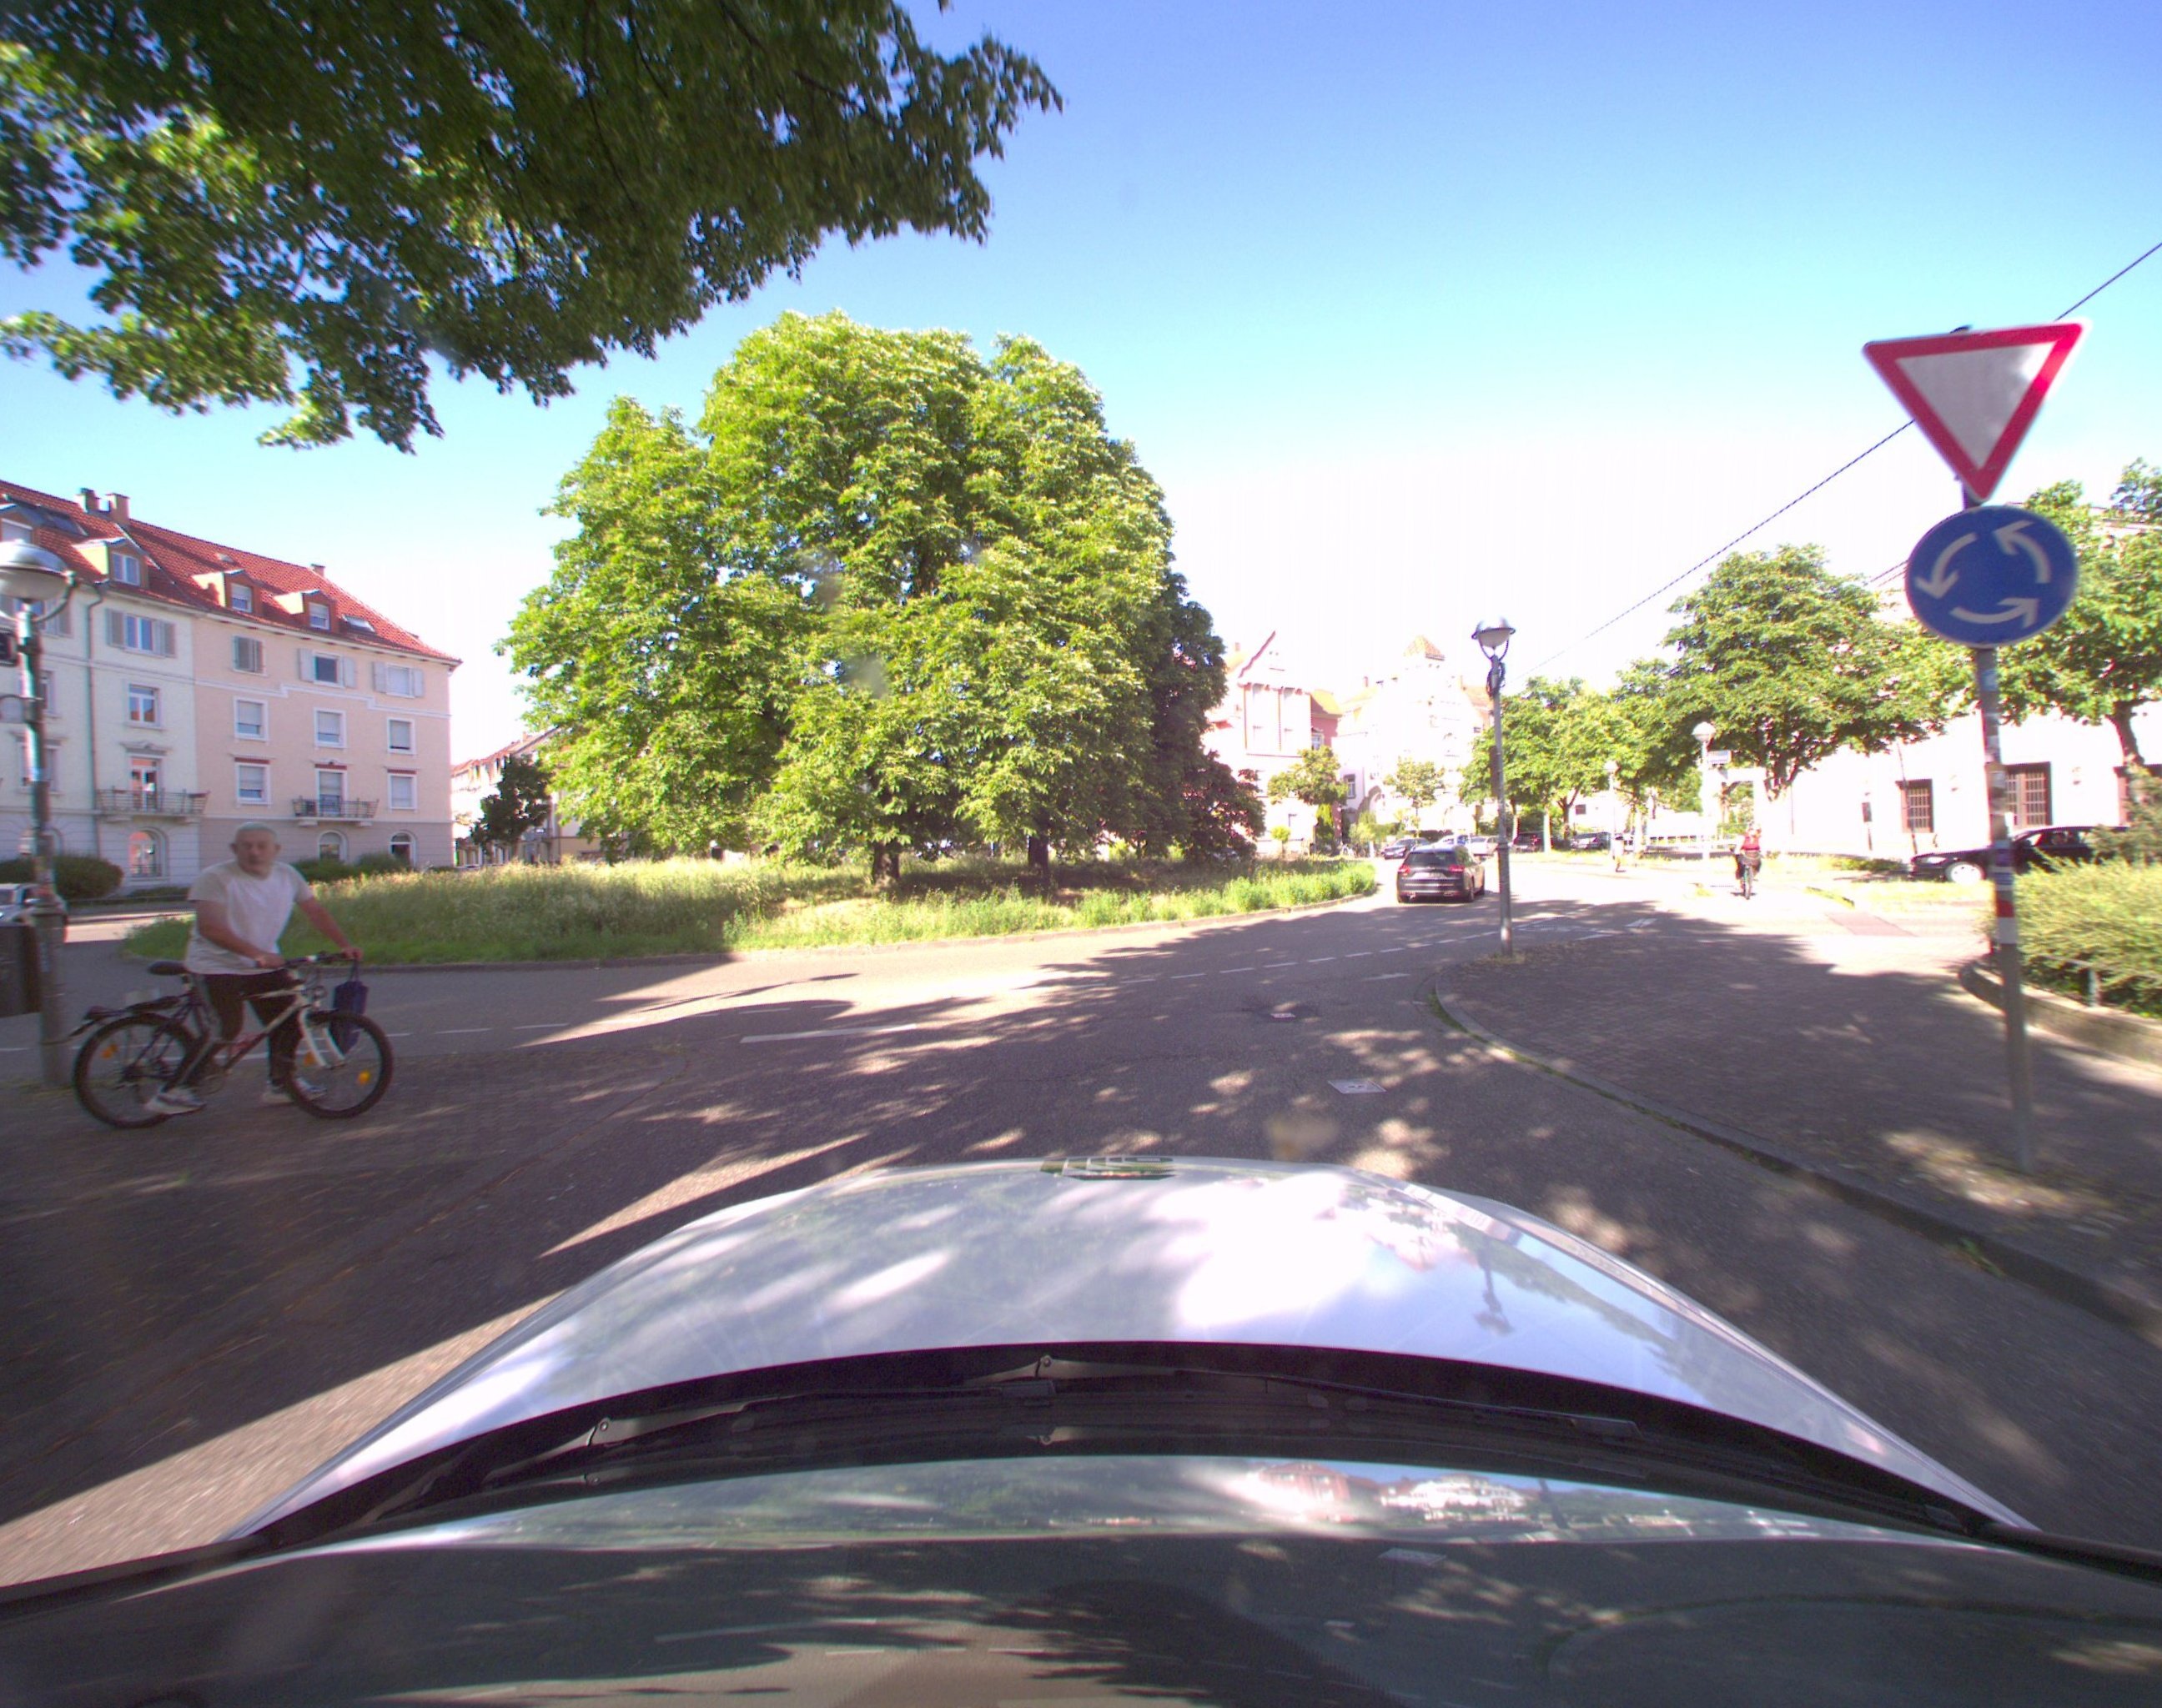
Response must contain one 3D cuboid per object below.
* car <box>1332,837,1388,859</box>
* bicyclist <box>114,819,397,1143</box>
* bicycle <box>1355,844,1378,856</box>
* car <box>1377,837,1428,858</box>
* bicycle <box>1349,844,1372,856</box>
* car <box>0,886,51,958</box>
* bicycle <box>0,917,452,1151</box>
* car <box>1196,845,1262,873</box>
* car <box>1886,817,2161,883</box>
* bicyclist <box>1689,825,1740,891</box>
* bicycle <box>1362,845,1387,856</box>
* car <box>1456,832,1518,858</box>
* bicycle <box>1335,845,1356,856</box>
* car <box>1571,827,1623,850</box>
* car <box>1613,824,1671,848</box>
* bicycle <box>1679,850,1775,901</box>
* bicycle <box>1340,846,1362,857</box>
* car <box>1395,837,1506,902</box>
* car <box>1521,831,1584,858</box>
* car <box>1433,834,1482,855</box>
[{"bbox_3d":[19.007,-0.396,55.475,3.660,1.369,1.741,-2,1,-35],"label":"car"},{"bbox_3d":[-5.016,0.705,5.032,0.886,1.784,0.795,-2,0,-13],"label":"bicyclist"},{"bbox_3d":[21.512,-0.308,61.414,0.478,0.822,2.277,-2,0,-11],"label":"bicycle"},{"bbox_3d":[23.190,-0.449,58.643,3.662,1.369,1.740,-2,1,-37],"label":"car"},{"bbox_3d":[20.764,-0.292,60.504,0.478,0.914,2.277,-2,0,-11],"label":"bicycle"},{"bbox_3d":[-26.826,1.657,19.705,4.074,1.607,2.012,-2,0,43],"label":"car"},{"bbox_3d":[-5.198,1.036,5.010,1.960,1.144,0.662,-2,0,-13],"label":"bicycle"},{"bbox_3d":[8.754,0.307,48.330,1.569,1.552,3.601,-2,0,-43],"label":"car"},{"bbox_3d":[22.070,-0.076,19.312,3.948,1.387,1.753,-2,0,33],"label":"car"},{"bbox_3d":[13.976,0.078,17.973,0.508,1.416,0.741,-2,0,-2],"label":"bicyclist"},{"bbox_3d":[22.182,-0.291,61.606,0.624,0.786,2.277,-2,0,-11],"label":"bicycle"},{"bbox_3d":[25.149,-0.575,50.419,3.990,1.455,1.545,-2,0,-31],"label":"car"},{"bbox_3d":[19.543,-0.249,60.214,0.478,0.800,2.017,-2,0,-16],"label":"bicycle"},{"bbox_3d":[36.567,-1.107,57.687,3.467,1.436,1.645,-2,0,-29],"label":"car"},{"bbox_3d":[38.010,-1.208,55.138,3.796,1.455,1.778,-2,0,-31],"label":"car"},{"bbox_3d":[13.987,0.437,17.696,0.506,1.036,1.873,-2,0,-2],"label":"bicycle"},{"bbox_3d":[20.112,-0.169,60.607,0.478,0.800,2.277,-2,0,-11],"label":"bicycle"},{"bbox_3d":[9.928,0.364,21.711,1.697,1.483,4.171,-2,1,39],"label":"car"},{"bbox_3d":[27.763,-0.580,47.927,3.750,1.455,1.545,-2,0,-31],"label":"car"},{"bbox_3d":[28.505,-0.724,61.652,3.488,1.488,1.654,-2,0,-32],"label":"car"}]
